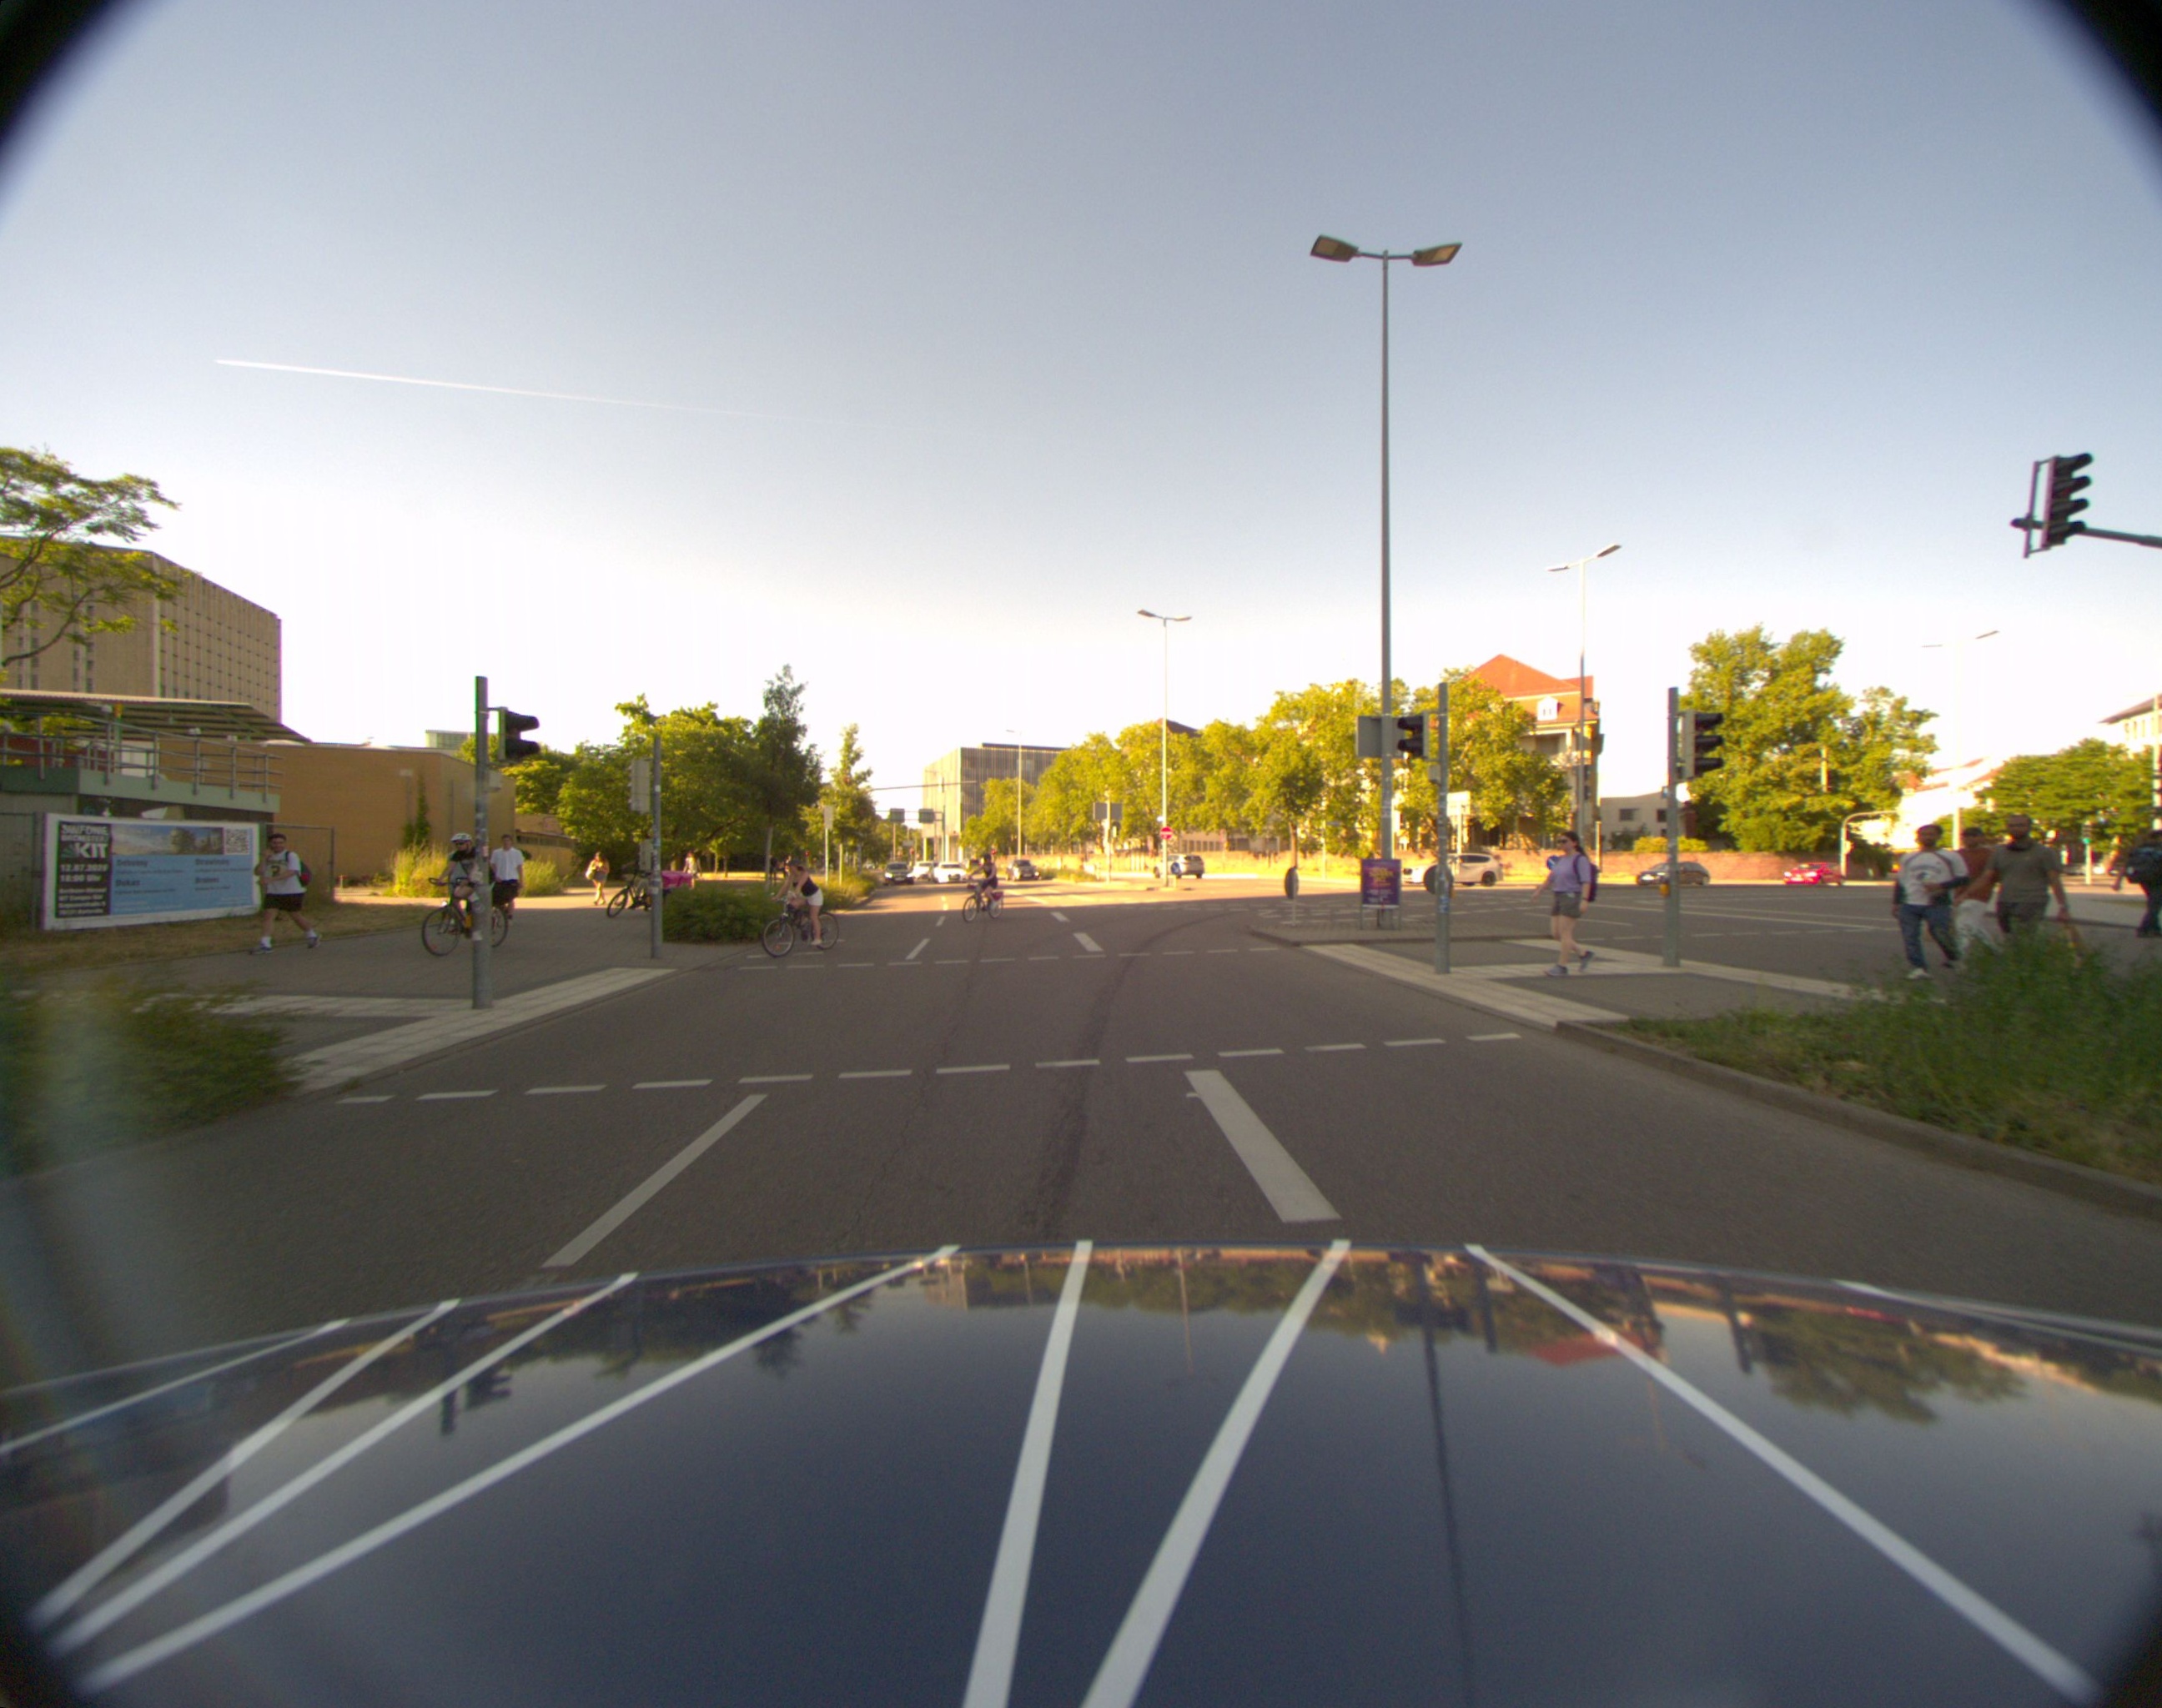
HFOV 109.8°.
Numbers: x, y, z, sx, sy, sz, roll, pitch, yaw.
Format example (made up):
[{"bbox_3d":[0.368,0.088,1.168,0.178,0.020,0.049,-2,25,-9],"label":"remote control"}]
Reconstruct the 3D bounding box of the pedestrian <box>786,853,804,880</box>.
[{"bbox_3d":[-18.135,0.783,48.243,1.020,1.739,0.848,0,0,-24],"label":"pedestrian"}]

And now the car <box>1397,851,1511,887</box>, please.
[{"bbox_3d":[18.511,0.758,37.836,4.605,1.673,2.195,-1,-2,-6],"label":"car"}]

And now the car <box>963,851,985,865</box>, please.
[{"bbox_3d":[-13.018,0.520,92.070,2.001,1.674,4.622,0,0,-16],"label":"car"}]

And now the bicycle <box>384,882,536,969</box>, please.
[{"bbox_3d":[-9.626,1.054,11.916,0.780,1.149,2.289,0,0,-9],"label":"bicycle"}]

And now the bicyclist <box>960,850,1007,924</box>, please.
[{"bbox_3d":[-2.439,0.818,19.092,0.715,1.777,0.851,-1,1,36],"label":"bicyclist"}]

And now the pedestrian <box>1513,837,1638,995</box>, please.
[{"bbox_3d":[5.669,0.682,8.759,0.927,1.731,0.757,0,1,-3],"label":"pedestrian"}]

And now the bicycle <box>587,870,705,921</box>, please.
[{"bbox_3d":[-10.816,0.993,19.028,0.778,1.149,2.585,0,0,25],"label":"bicycle"}]

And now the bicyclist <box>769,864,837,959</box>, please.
[{"bbox_3d":[-4.741,0.953,12.950,0.715,1.539,0.851,-2,-2,44],"label":"bicyclist"}]

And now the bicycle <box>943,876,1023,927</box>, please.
[{"bbox_3d":[-2.430,1.171,19.102,0.717,1.115,2.070,-2,1,36],"label":"bicycle"}]

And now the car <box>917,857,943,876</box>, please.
[{"bbox_3d":[-12.687,1.049,63.633,1.926,1.510,4.012,0,0,-15],"label":"car"}]

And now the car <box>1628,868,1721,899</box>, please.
[{"bbox_3d":[32.899,1.634,42.137,4.612,1.576,2.191,0,-2,-25],"label":"car"}]

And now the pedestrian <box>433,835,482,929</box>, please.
[{"bbox_3d":[-12.654,0.563,15.426,0.575,1.858,0.624,0,1,32],"label":"pedestrian"}]

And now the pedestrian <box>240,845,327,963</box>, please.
[{"bbox_3d":[-11.761,0.714,11.225,0.623,1.689,0.630,0,1,-10],"label":"pedestrian"}]

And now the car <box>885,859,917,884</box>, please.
[{"bbox_3d":[-11.440,1.056,48.096,1.804,1.510,3.994,0,0,-15],"label":"car"}]

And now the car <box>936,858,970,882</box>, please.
[{"bbox_3d":[-8.524,1.004,50.305,1.804,1.510,4.425,0,0,-15],"label":"car"}]

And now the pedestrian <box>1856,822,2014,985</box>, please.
[{"bbox_3d":[9.477,0.526,8.465,0.927,1.731,0.757,0,1,-3],"label":"pedestrian"}]

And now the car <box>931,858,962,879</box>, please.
[{"bbox_3d":[-10.200,1.065,57.397,1.926,1.510,4.012,0,0,-15],"label":"car"}]

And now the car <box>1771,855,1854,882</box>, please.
[{"bbox_3d":[45.975,0.911,47.745,4.612,1.576,2.191,0,-2,-25],"label":"car"}]

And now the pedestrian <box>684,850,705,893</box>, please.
[{"bbox_3d":[-15.511,0.678,30.524,0.677,1.694,0.875,0,1,-24],"label":"pedestrian"}]

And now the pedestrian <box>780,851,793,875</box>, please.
[{"bbox_3d":[-19.653,0.601,50.646,0.764,1.534,0.845,0,0,-24],"label":"pedestrian"}]

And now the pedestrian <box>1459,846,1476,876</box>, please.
[{"bbox_3d":[21.843,0.382,42.947,0.791,1.644,0.713,2,4,23],"label":"pedestrian"}]

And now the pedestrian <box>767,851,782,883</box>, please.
[{"bbox_3d":[-16.432,0.687,40.730,0.713,1.703,0.733,0,1,-18],"label":"pedestrian"}]

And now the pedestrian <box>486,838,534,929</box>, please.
[{"bbox_3d":[-11.900,0.596,15.834,0.575,1.858,0.624,0,1,32],"label":"pedestrian"}]

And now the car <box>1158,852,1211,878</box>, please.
[{"bbox_3d":[6.694,0.686,49.587,2.157,1.611,4.358,0,0,-10],"label":"car"}]

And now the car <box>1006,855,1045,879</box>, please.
[{"bbox_3d":[-3.803,0.829,51.239,1.926,1.510,4.012,0,0,-15],"label":"car"}]

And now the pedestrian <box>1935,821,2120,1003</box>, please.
[{"bbox_3d":[9.474,0.552,7.637,0.927,1.731,0.757,0,1,-3],"label":"pedestrian"}]

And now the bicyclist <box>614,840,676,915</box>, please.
[{"bbox_3d":[-10.857,0.569,18.946,0.778,1.823,1.095,0,0,25],"label":"bicyclist"}]

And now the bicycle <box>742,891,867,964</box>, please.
[{"bbox_3d":[-4.699,1.211,12.984,0.717,1.114,1.873,-2,-2,44],"label":"bicycle"}]

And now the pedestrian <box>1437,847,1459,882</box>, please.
[{"bbox_3d":[20.560,0.574,42.596,0.871,1.884,0.713,1,4,12],"label":"pedestrian"}]

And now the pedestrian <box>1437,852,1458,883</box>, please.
[{"bbox_3d":[20.215,0.752,41.930,0.871,1.665,0.713,1,4,12],"label":"pedestrian"}]

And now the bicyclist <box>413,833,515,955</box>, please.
[{"bbox_3d":[-9.627,0.593,11.909,0.780,1.820,1.092,0,0,-9],"label":"bicyclist"}]

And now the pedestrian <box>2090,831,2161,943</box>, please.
[{"bbox_3d":[16.482,0.497,11.707,0.899,1.675,0.748,0,0,-3],"label":"pedestrian"}]

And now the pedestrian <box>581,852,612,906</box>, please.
[{"bbox_3d":[-14.271,0.712,22.397,0.623,1.565,0.638,0,1,-18],"label":"pedestrian"}]

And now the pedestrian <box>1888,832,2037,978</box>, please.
[{"bbox_3d":[10.885,0.606,9.412,0.927,1.731,0.787,0,1,-3],"label":"pedestrian"}]
